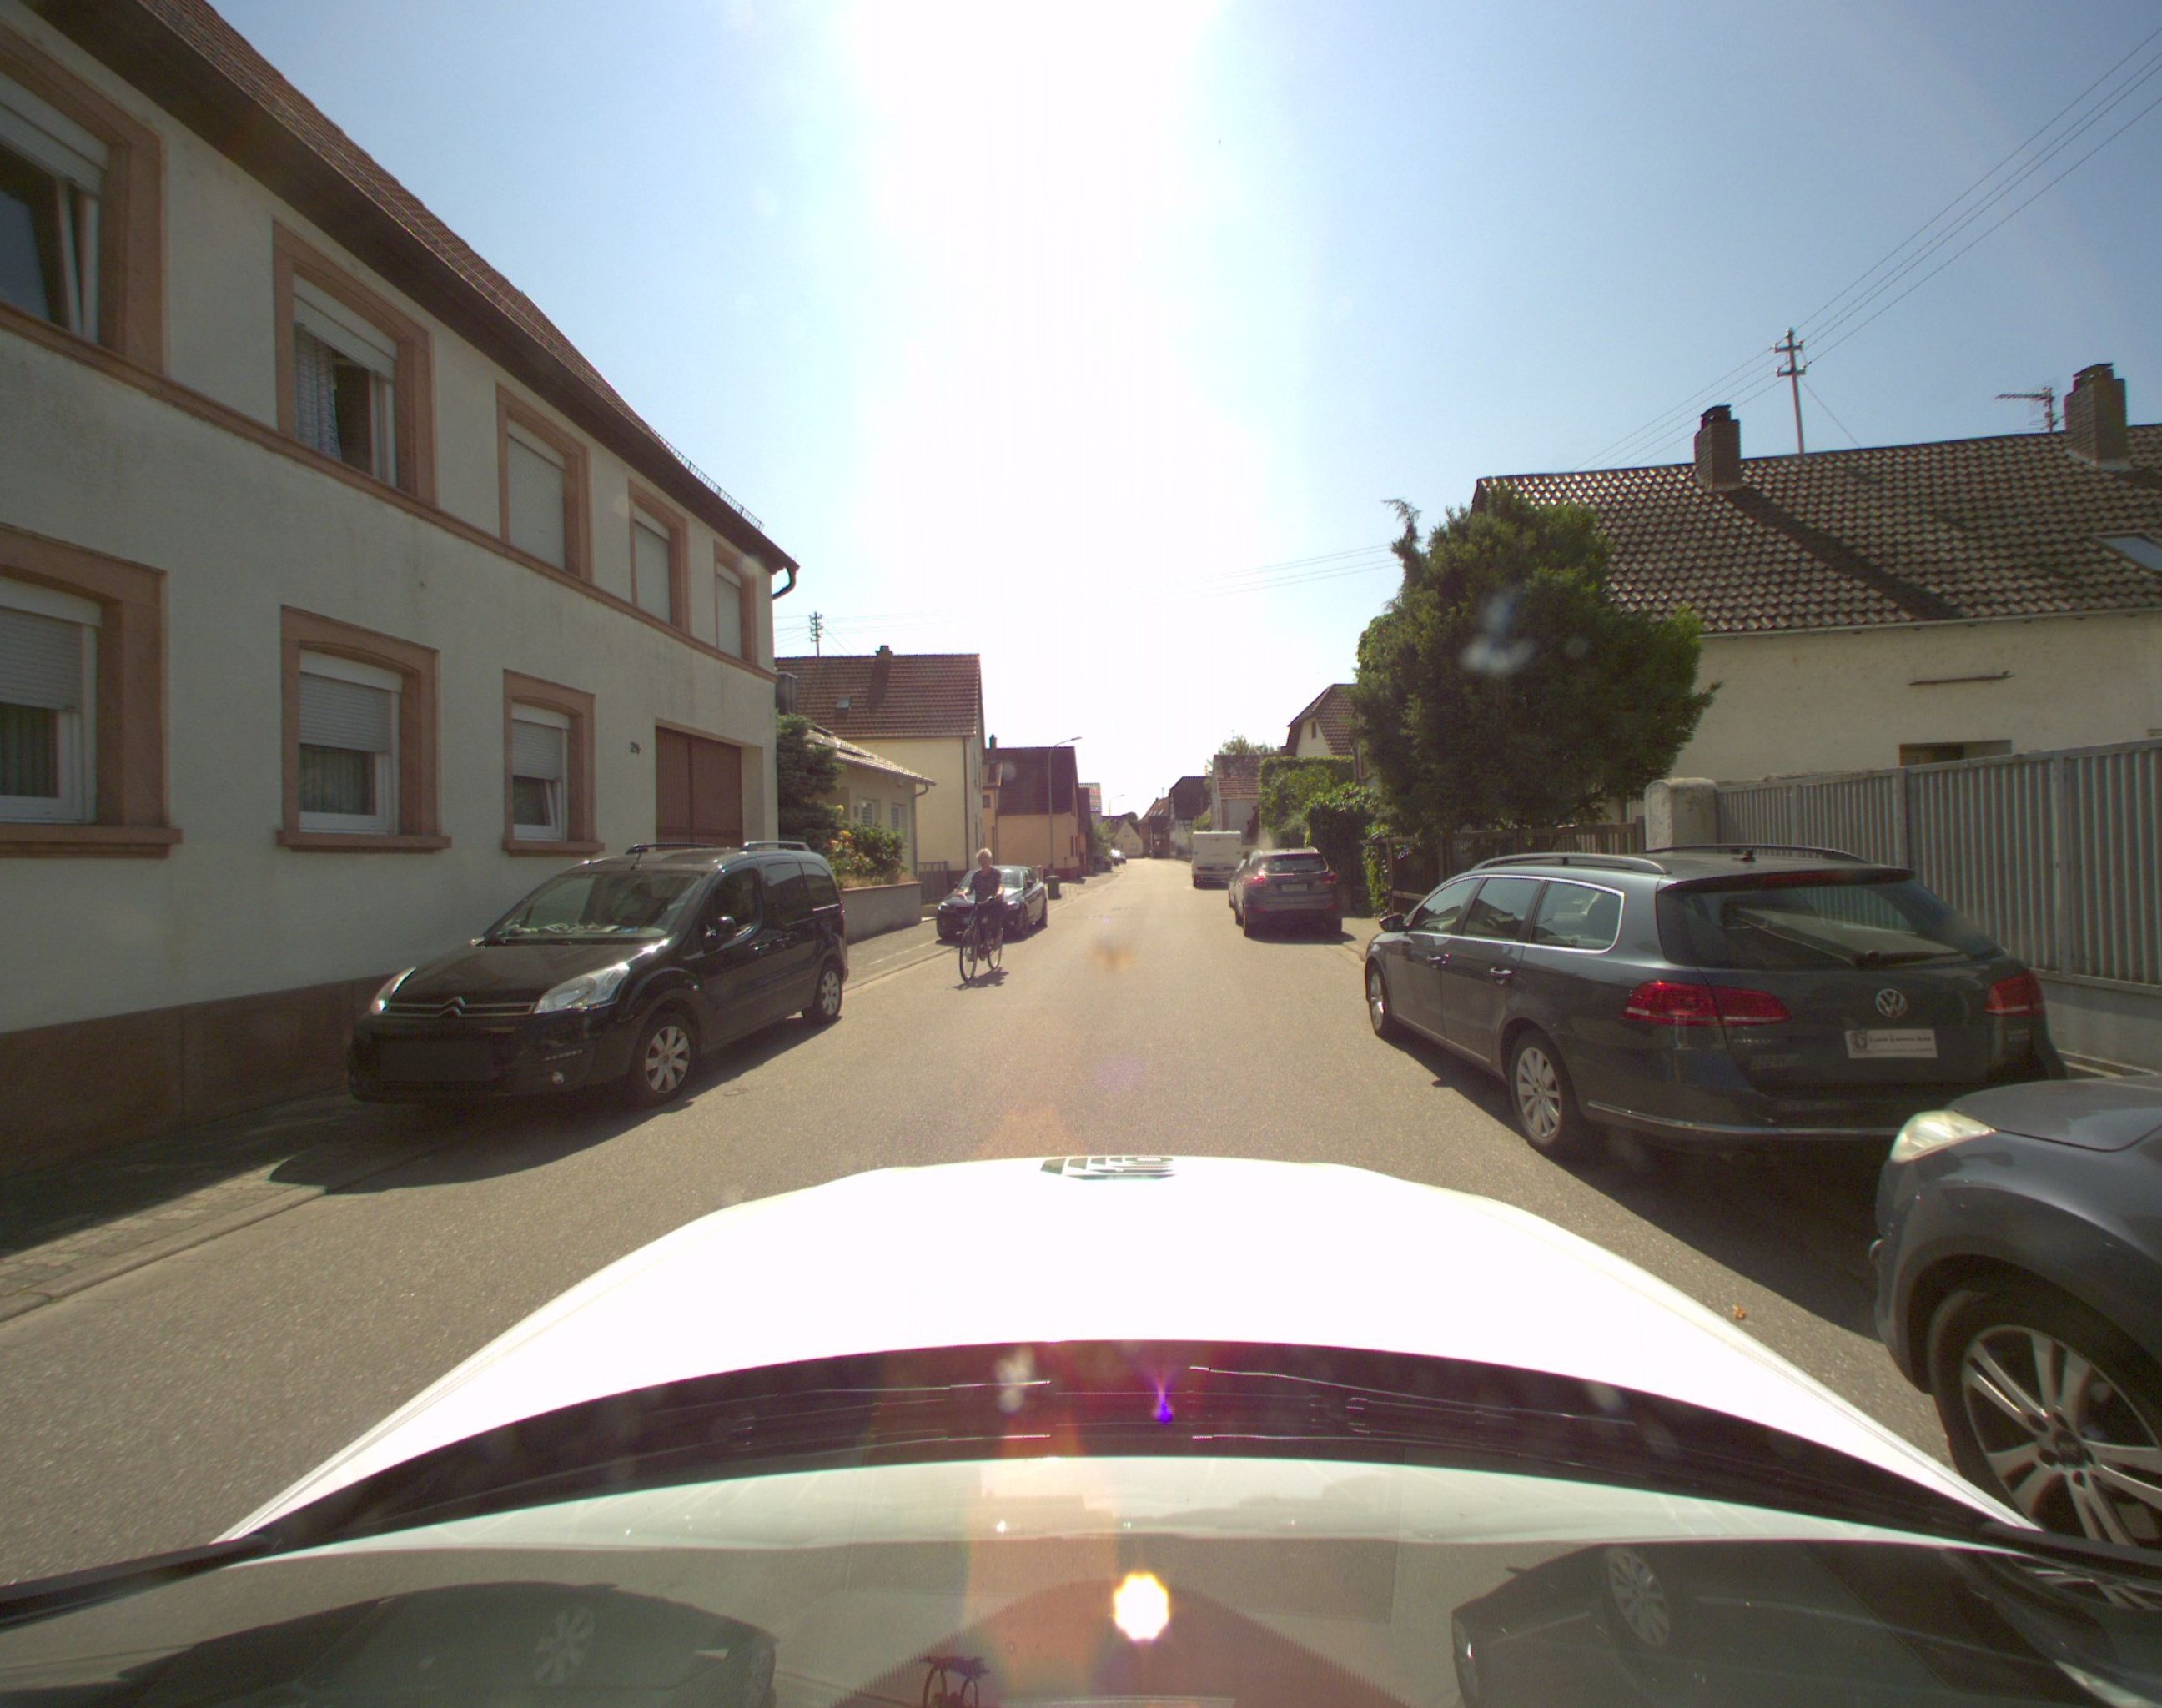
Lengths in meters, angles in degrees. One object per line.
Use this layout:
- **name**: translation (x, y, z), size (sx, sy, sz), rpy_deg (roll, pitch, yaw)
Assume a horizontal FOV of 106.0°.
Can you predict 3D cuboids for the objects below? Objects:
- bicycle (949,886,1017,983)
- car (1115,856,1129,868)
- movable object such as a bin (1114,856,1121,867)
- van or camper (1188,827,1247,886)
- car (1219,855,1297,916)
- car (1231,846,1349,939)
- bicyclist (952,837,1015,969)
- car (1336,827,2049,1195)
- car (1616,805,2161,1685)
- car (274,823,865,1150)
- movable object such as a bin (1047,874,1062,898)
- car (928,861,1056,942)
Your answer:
- **bicycle**: translation (-1.343, 1.079, 11.476), size (0.587, 1.148, 1.950), rpy_deg (-3, 0, 2)
- **car**: translation (5.234, 0.959, 104.470), size (1.504, 1.436, 3.517), rpy_deg (-3, 0, 6)
- **movable object such as a bin**: translation (4.164, 0.821, 92.040), size (0.685, 1.185, 0.715), rpy_deg (-3, 0, 5)
- **van or camper**: translation (6.715, 0.144, 40.582), size (2.510, 2.697, 4.561), rpy_deg (-2, 0, 5)
- **car**: translation (4.861, 0.811, 22.837), size (1.703, 1.464, 4.073), rpy_deg (-3, 0, 7)
- **car**: translation (4.154, 0.688, 16.849), size (1.784, 1.631, 4.369), rpy_deg (-2, 0, 7)
- **bicyclist**: translation (-1.355, 0.675, 11.407), size (0.701, 1.771, 0.625), rpy_deg (-2, -1, 2)
- **car**: translation (3.264, 0.683, 5.720), size (1.811, 1.508, 4.587), rpy_deg (-2, 0, 5)
- **car**: translation (2.709, 0.662, 0.729), size (1.788, 1.560, 4.639), rpy_deg (-2, 0, 6)
- **car**: translation (-3.546, 0.781, 6.840), size (1.825, 1.837, 4.361), rpy_deg (-2, 0, 6)
- **movable object such as a bin**: translation (-1.074, 1.311, 33.622), size (0.536, 0.949, 0.554), rpy_deg (-1, 0, 5)
- **car**: translation (-1.836, 0.971, 18.486), size (1.835, 1.527, 4.774), rpy_deg (-2, 0, 6)
